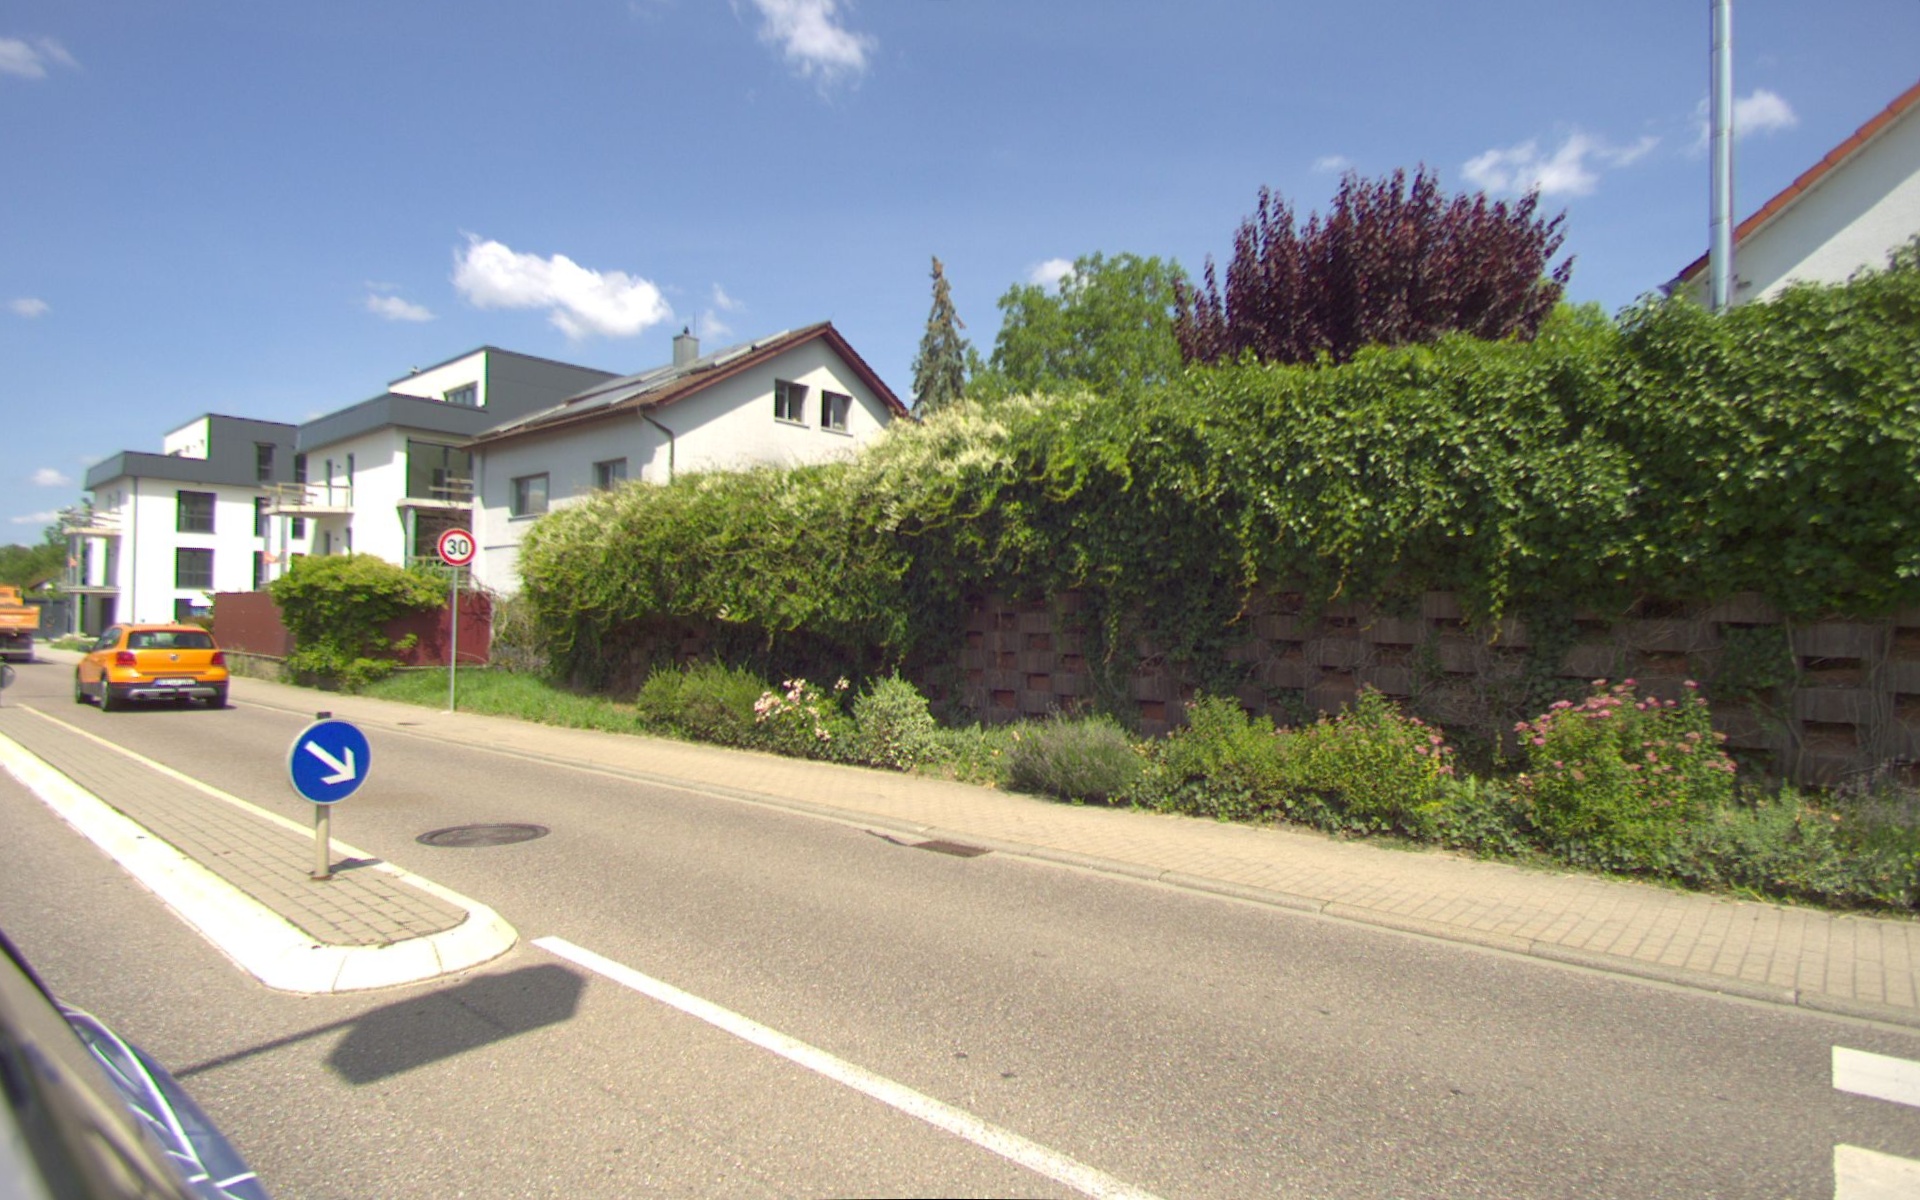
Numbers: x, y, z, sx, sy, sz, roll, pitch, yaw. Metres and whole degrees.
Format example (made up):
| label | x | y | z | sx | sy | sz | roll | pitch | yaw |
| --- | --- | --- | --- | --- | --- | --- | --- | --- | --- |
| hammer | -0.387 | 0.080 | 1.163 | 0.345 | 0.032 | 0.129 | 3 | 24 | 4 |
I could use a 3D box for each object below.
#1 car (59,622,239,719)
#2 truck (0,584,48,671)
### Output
| label | x | y | z | sx | sy | sz | roll | pitch | yaw |
| --- | --- | --- | --- | --- | --- | --- | --- | --- | --- |
| car | -14.160 | 1.167 | 17.620 | 3.611 | 1.500 | 1.776 | -1 | -4 | 41 |
| truck | -33.090 | 0.878 | 33.910 | 6.788 | 2.731 | 2.827 | -1 | -3 | 41 |
